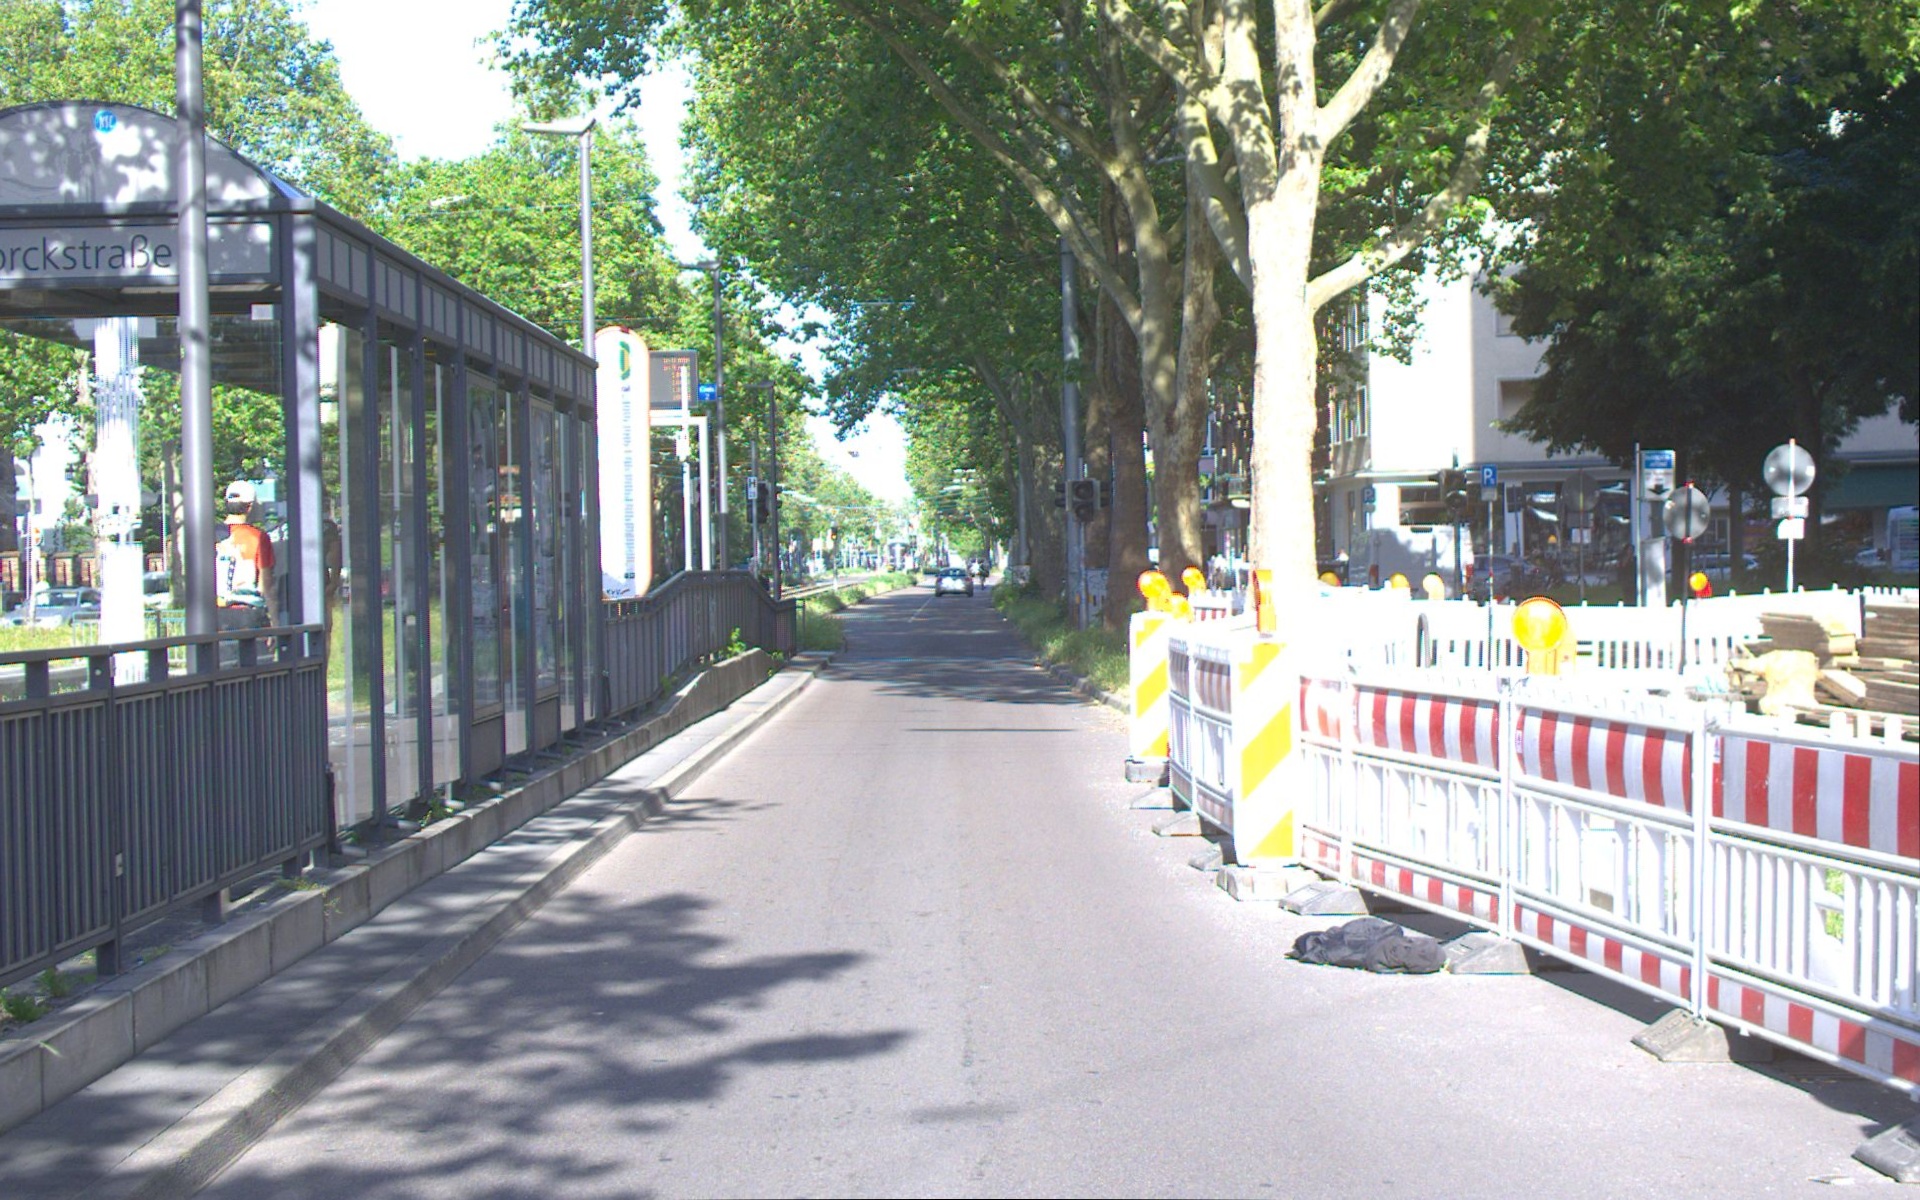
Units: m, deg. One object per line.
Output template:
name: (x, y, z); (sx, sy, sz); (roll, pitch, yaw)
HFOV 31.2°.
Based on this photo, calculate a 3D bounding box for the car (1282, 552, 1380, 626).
car: (9.029, -0.290, 83.986); (1.819, 1.736, 5.167); (-1, 1, 0)

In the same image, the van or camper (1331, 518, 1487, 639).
van or camper: (8.874, -0.433, 68.447); (2.291, 2.279, 5.823); (-1, 0, 0)

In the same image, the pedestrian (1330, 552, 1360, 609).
pedestrian: (11.561, -0.592, 103.258); (0.795, 1.698, 0.724); (-1, 1, 0)

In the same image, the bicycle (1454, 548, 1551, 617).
bicycle: (10.108, -0.329, 64.092); (1.603, 1.259, 0.963); (-1, 0, -4)

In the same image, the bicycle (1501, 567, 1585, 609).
bicycle: (15.649, -0.327, 92.318); (2.141, 1.100, 0.507); (-1, 1, 25)

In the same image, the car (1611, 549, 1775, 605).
car: (21.552, -0.676, 101.039); (4.589, 1.575, 1.999); (-1, 1, 16)

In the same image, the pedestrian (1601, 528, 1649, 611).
pedestrian: (13.145, -0.603, 67.942); (0.732, 1.611, 1.035); (-1, 0, 0)

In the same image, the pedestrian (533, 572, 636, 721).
pedestrian: (-3.023, 0.365, 27.718); (0.752, 1.175, 0.812); (0, 1, -1)

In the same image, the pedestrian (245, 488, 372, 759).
pedestrian: (-4.349, 0.148, 22.977); (0.682, 1.778, 0.754); (0, 1, 1)

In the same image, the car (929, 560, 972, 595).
car: (-0.472, -1.089, 165.866); (2.021, 1.656, 4.000); (-1, 1, 0)

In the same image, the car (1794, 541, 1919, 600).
car: (26.438, -0.868, 99.517); (4.384, 1.639, 1.999); (-1, 1, 16)

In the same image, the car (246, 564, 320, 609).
car: (-26.987, -0.539, 137.140); (1.768, 1.713, 4.419); (-1, 1, 4)

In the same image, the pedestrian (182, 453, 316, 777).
pedestrian: (-4.467, 0.088, 21.635); (0.667, 2.007, 0.716); (0, 1, 1)

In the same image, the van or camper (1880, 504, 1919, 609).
van or camper: (24.993, -1.137, 89.025); (2.148, 2.627, 5.584); (-1, 1, 16)

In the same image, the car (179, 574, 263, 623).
car: (-27.155, -0.068, 126.490); (1.993, 1.644, 4.827); (-1, 1, 1)

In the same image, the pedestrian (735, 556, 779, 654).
pedestrian: (-3.511, 0.088, 59.446); (0.712, 1.674, 0.772); (-1, 0, -1)
